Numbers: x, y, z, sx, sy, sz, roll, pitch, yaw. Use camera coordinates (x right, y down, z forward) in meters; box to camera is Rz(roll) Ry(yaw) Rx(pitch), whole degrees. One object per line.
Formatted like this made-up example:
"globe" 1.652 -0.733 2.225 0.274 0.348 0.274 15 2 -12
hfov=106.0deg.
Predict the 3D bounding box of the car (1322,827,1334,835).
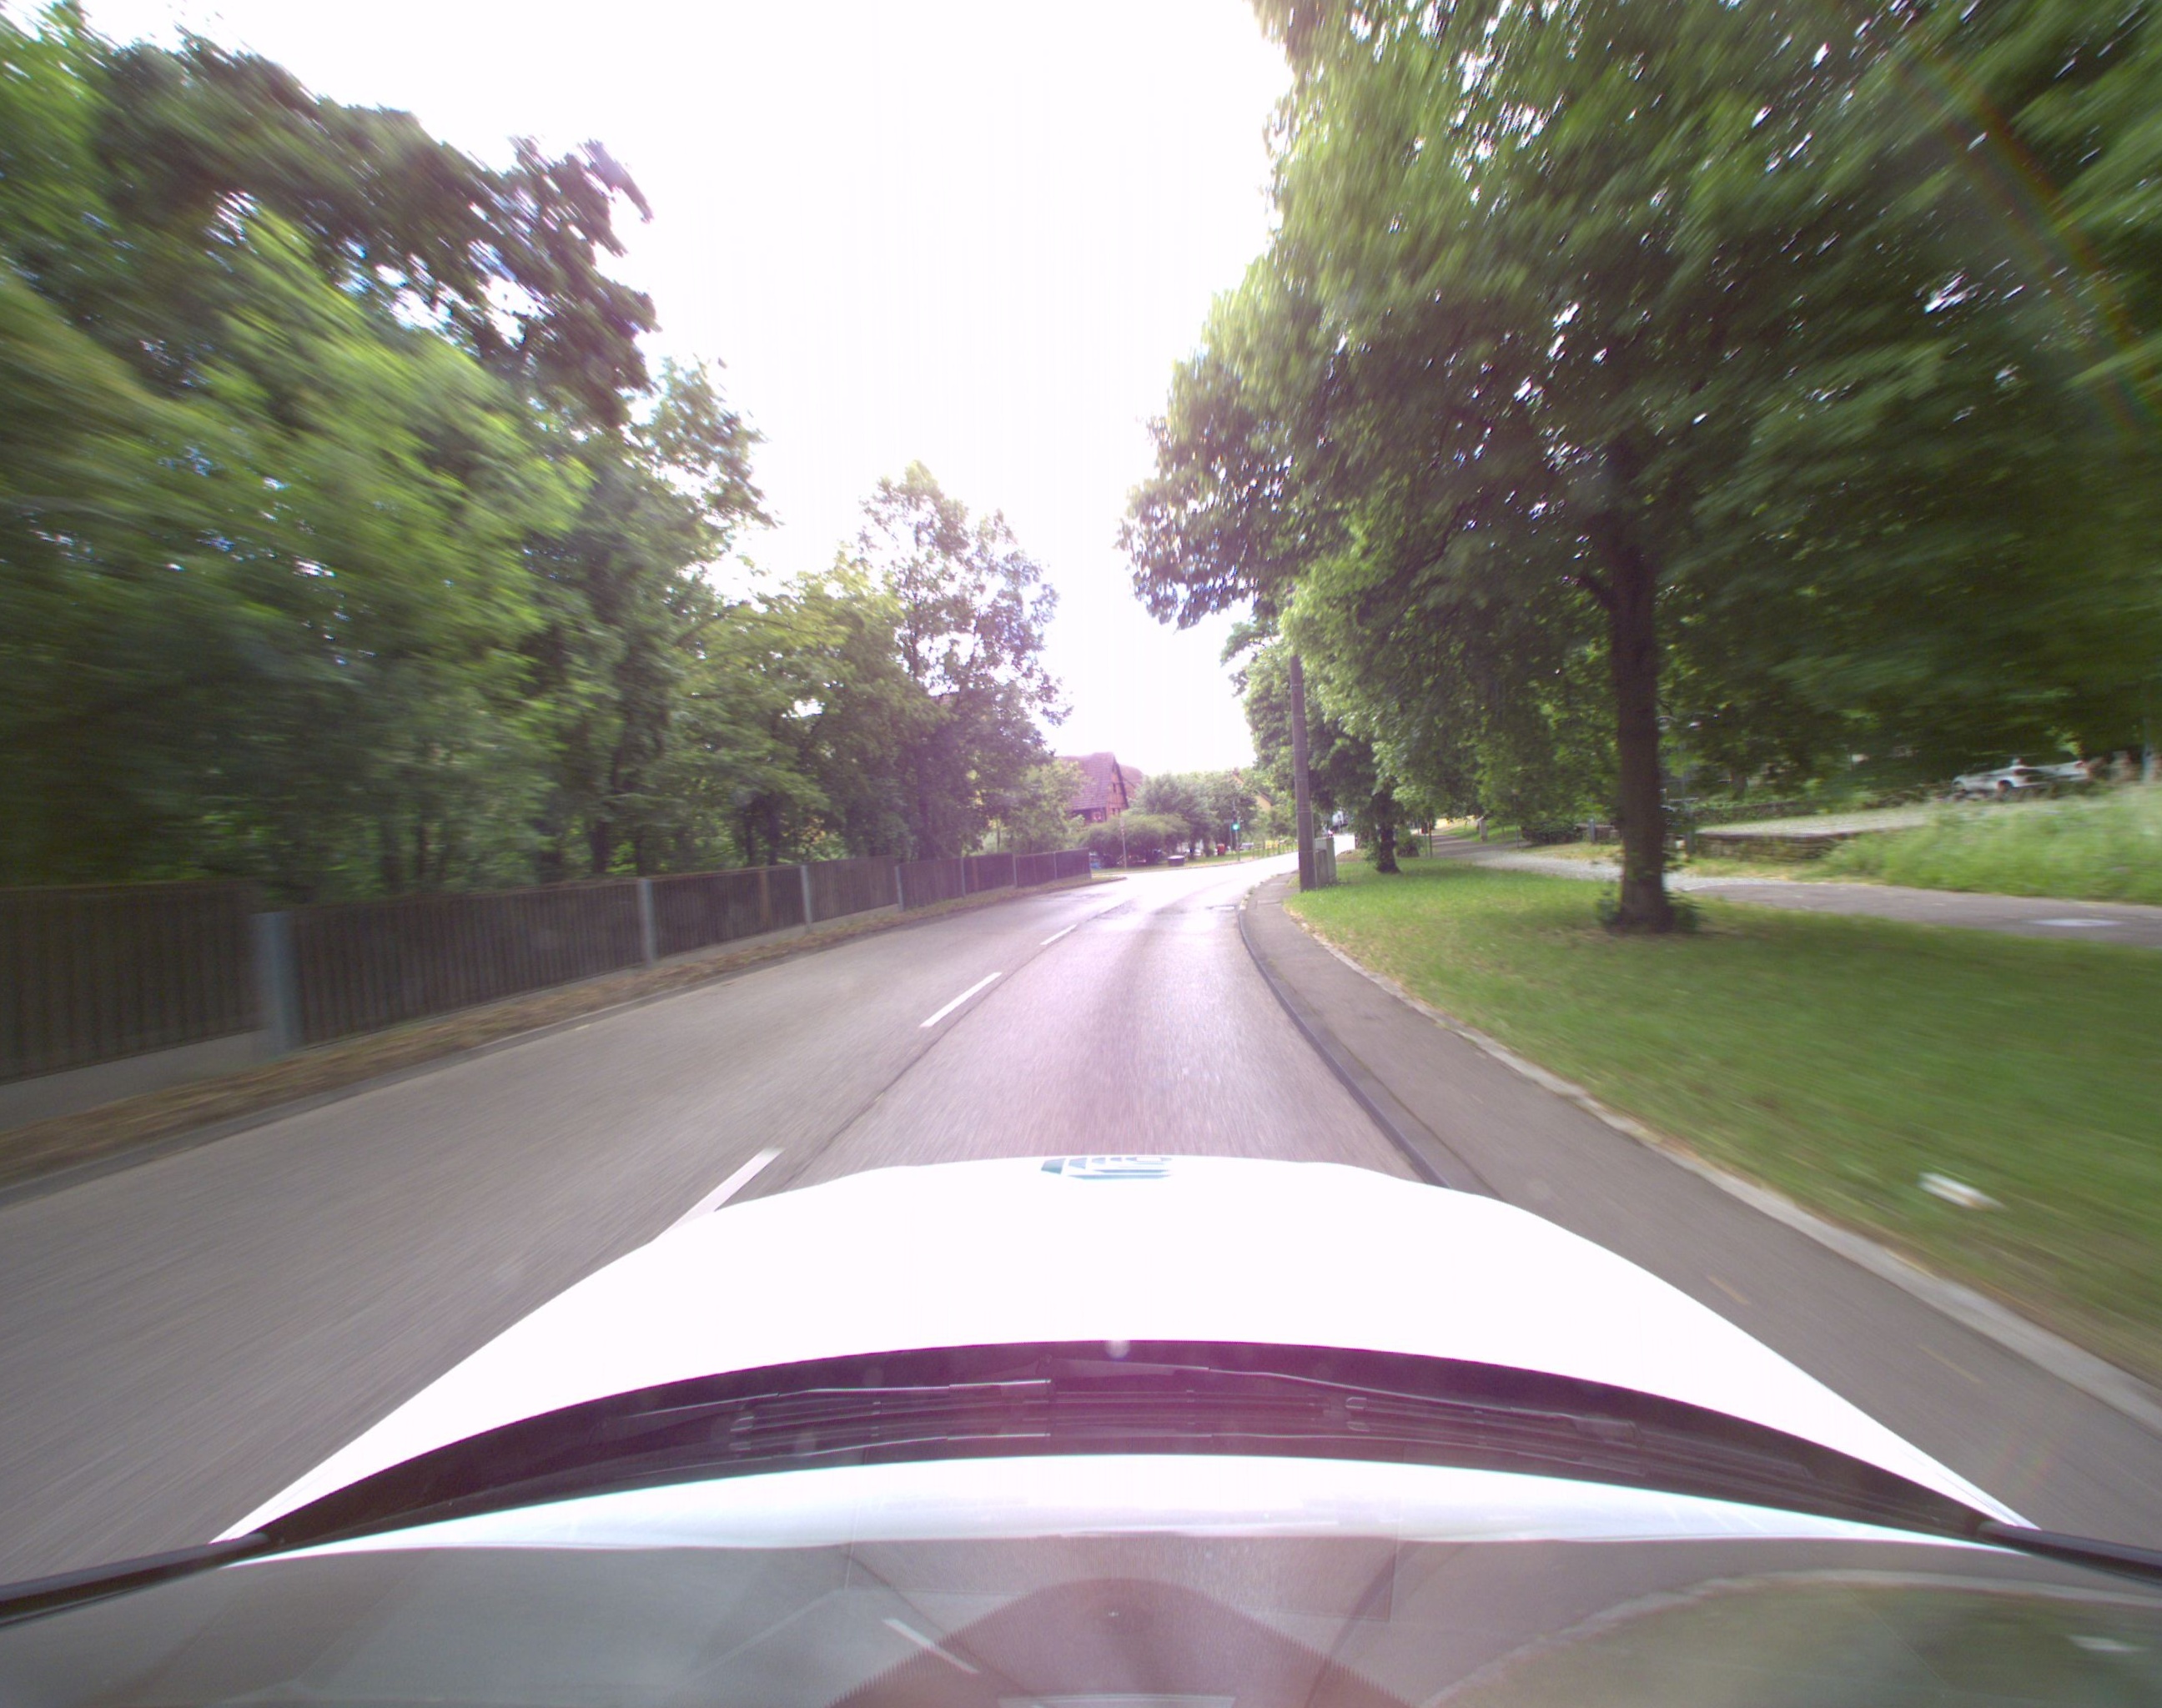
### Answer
"car" 53.271 -4.864 175.627 1.689 1.511 4.023 -6 -1 24

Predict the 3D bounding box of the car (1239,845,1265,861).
"car" 21.398 -0.097 101.663 1.902 1.695 4.025 -6 -1 29

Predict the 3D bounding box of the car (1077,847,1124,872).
"car" 1.619 0.425 64.848 1.975 1.618 4.474 -6 -1 25

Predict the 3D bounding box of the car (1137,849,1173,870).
"car" 6.847 0.510 75.085 1.795 1.618 4.024 -6 -1 26

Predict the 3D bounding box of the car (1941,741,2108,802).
"car" 32.067 -2.764 27.878 1.976 1.650 4.023 -8 1 22

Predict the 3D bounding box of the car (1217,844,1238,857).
"car" 16.894 -0.451 93.831 1.538 1.278 2.570 -6 -1 29

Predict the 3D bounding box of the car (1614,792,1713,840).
"car" 21.485 -1.460 30.251 1.890 1.430 4.492 -6 2 22
